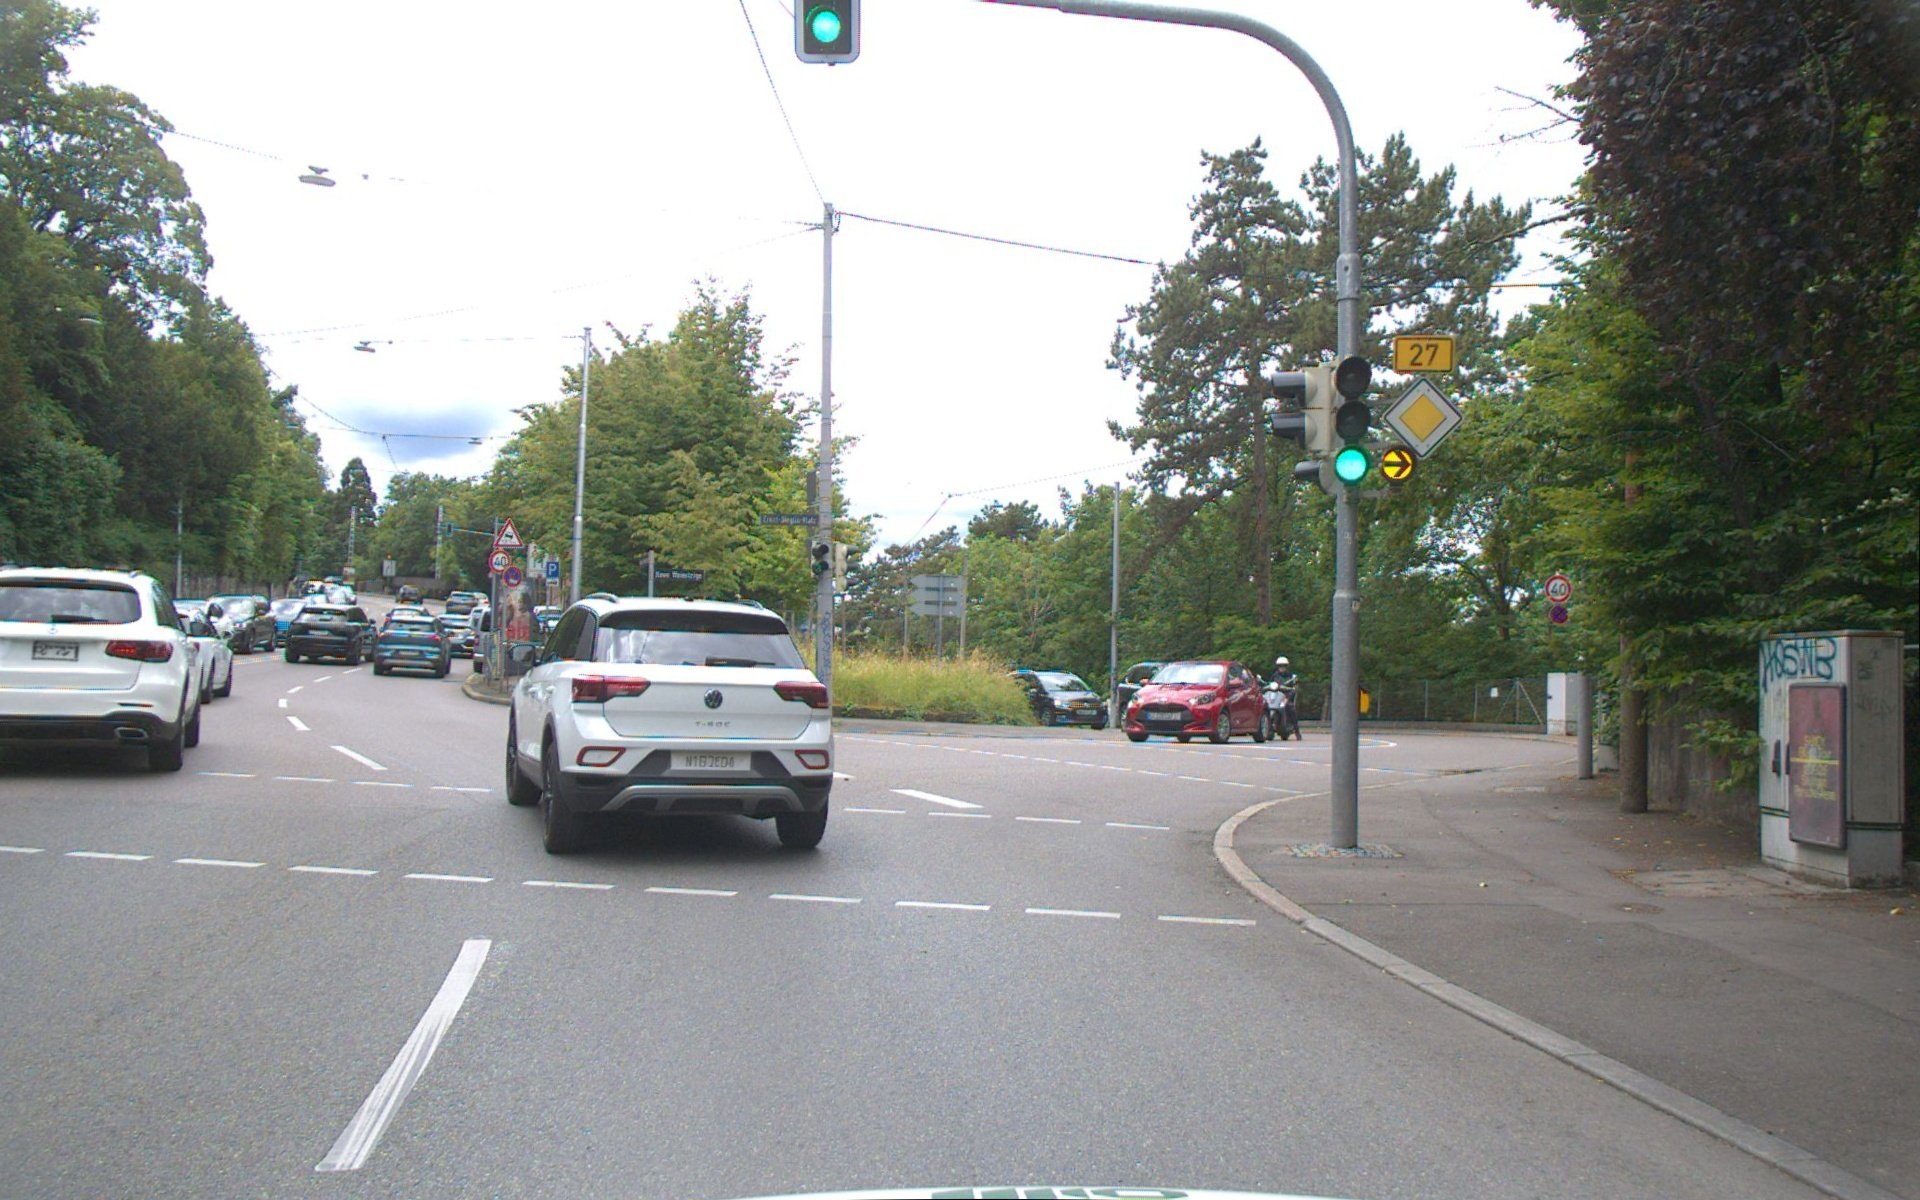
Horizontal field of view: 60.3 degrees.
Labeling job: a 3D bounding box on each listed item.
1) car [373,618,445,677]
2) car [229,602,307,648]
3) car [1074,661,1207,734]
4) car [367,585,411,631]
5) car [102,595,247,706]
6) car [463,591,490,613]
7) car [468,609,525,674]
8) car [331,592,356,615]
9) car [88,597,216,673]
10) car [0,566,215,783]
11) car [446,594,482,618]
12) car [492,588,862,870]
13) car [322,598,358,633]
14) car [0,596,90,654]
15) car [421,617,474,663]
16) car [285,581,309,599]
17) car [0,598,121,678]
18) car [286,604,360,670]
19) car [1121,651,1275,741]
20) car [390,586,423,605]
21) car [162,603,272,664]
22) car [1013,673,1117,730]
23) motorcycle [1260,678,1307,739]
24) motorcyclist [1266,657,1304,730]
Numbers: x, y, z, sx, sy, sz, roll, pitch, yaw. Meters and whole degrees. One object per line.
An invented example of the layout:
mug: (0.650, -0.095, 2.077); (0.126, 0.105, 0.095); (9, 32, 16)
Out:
car: (-14.689, 1.247, 44.243); (1.602, 1.444, 3.837); (4, -2, -16)
car: (-24.376, 0.854, 58.402); (1.786, 1.465, 4.048); (3, -1, -13)
car: (4.458, 2.467, 41.529); (1.783, 1.707, 4.659); (2, -4, -15)
car: (-23.515, 0.336, 68.092); (1.610, 1.852, 3.975); (1, -1, -20)
car: (-12.483, 0.801, 26.455); (1.841, 1.561, 4.739); (3, -2, -24)
car: (-34.582, 0.159, 118.280); (1.622, 1.476, 3.526); (2, -1, -19)
car: (-13.512, 1.193, 48.298); (1.470, 1.779, 3.105); (2, -1, -15)
car: (-43.477, 0.236, 116.662); (1.623, 1.476, 3.525); (2, 0, -21)
car: (-19.992, 0.872, 41.119); (1.961, 1.665, 4.379); (4, -2, -15)
car: (-7.770, 0.602, 14.812); (1.834, 1.634, 4.637); (3, -2, -23)
car: (-31.381, 0.376, 104.533); (1.626, 1.476, 3.517); (3, -1, -26)
car: (-2.175, 0.771, 11.608); (1.729, 1.580, 4.311); (3, -1, -21)
car: (-37.762, 0.930, 100.797); (1.706, 2.049, 3.913); (3, -1, -17)
car: (-25.037, 0.664, 44.156); (1.606, 1.430, 4.060); (4, -2, -4)
car: (-17.762, 1.360, 57.434); (1.657, 1.449, 3.692); (2, 0, -16)
car: (-69.018, -1.004, 172.147); (1.731, 1.817, 3.957); (3, -1, -31)
car: (-18.782, 0.753, 33.980); (1.727, 1.467, 4.462); (4, -2, -14)
car: (-18.296, 1.033, 47.615); (1.761, 1.665, 3.716); (4, 0, -19)
car: (4.328, 1.734, 29.660); (1.634, 1.494, 3.951); (-1, -4, 25)
car: (-45.687, -0.391, 136.403); (1.633, 1.476, 3.503); (3, -1, -35)
car: (-21.623, 0.969, 48.323); (1.860, 1.594, 4.466); (4, -2, -11)
car: (2.898, 2.855, 46.518); (1.688, 1.512, 3.982); (2, -4, -16)
motorcycle: (6.551, 2.176, 33.431); (0.587, 1.173, 1.580); (-1, -2, 23)
motorcyclist: (6.583, 1.887, 33.522); (0.587, 1.455, 0.757); (-1, -3, 23)
